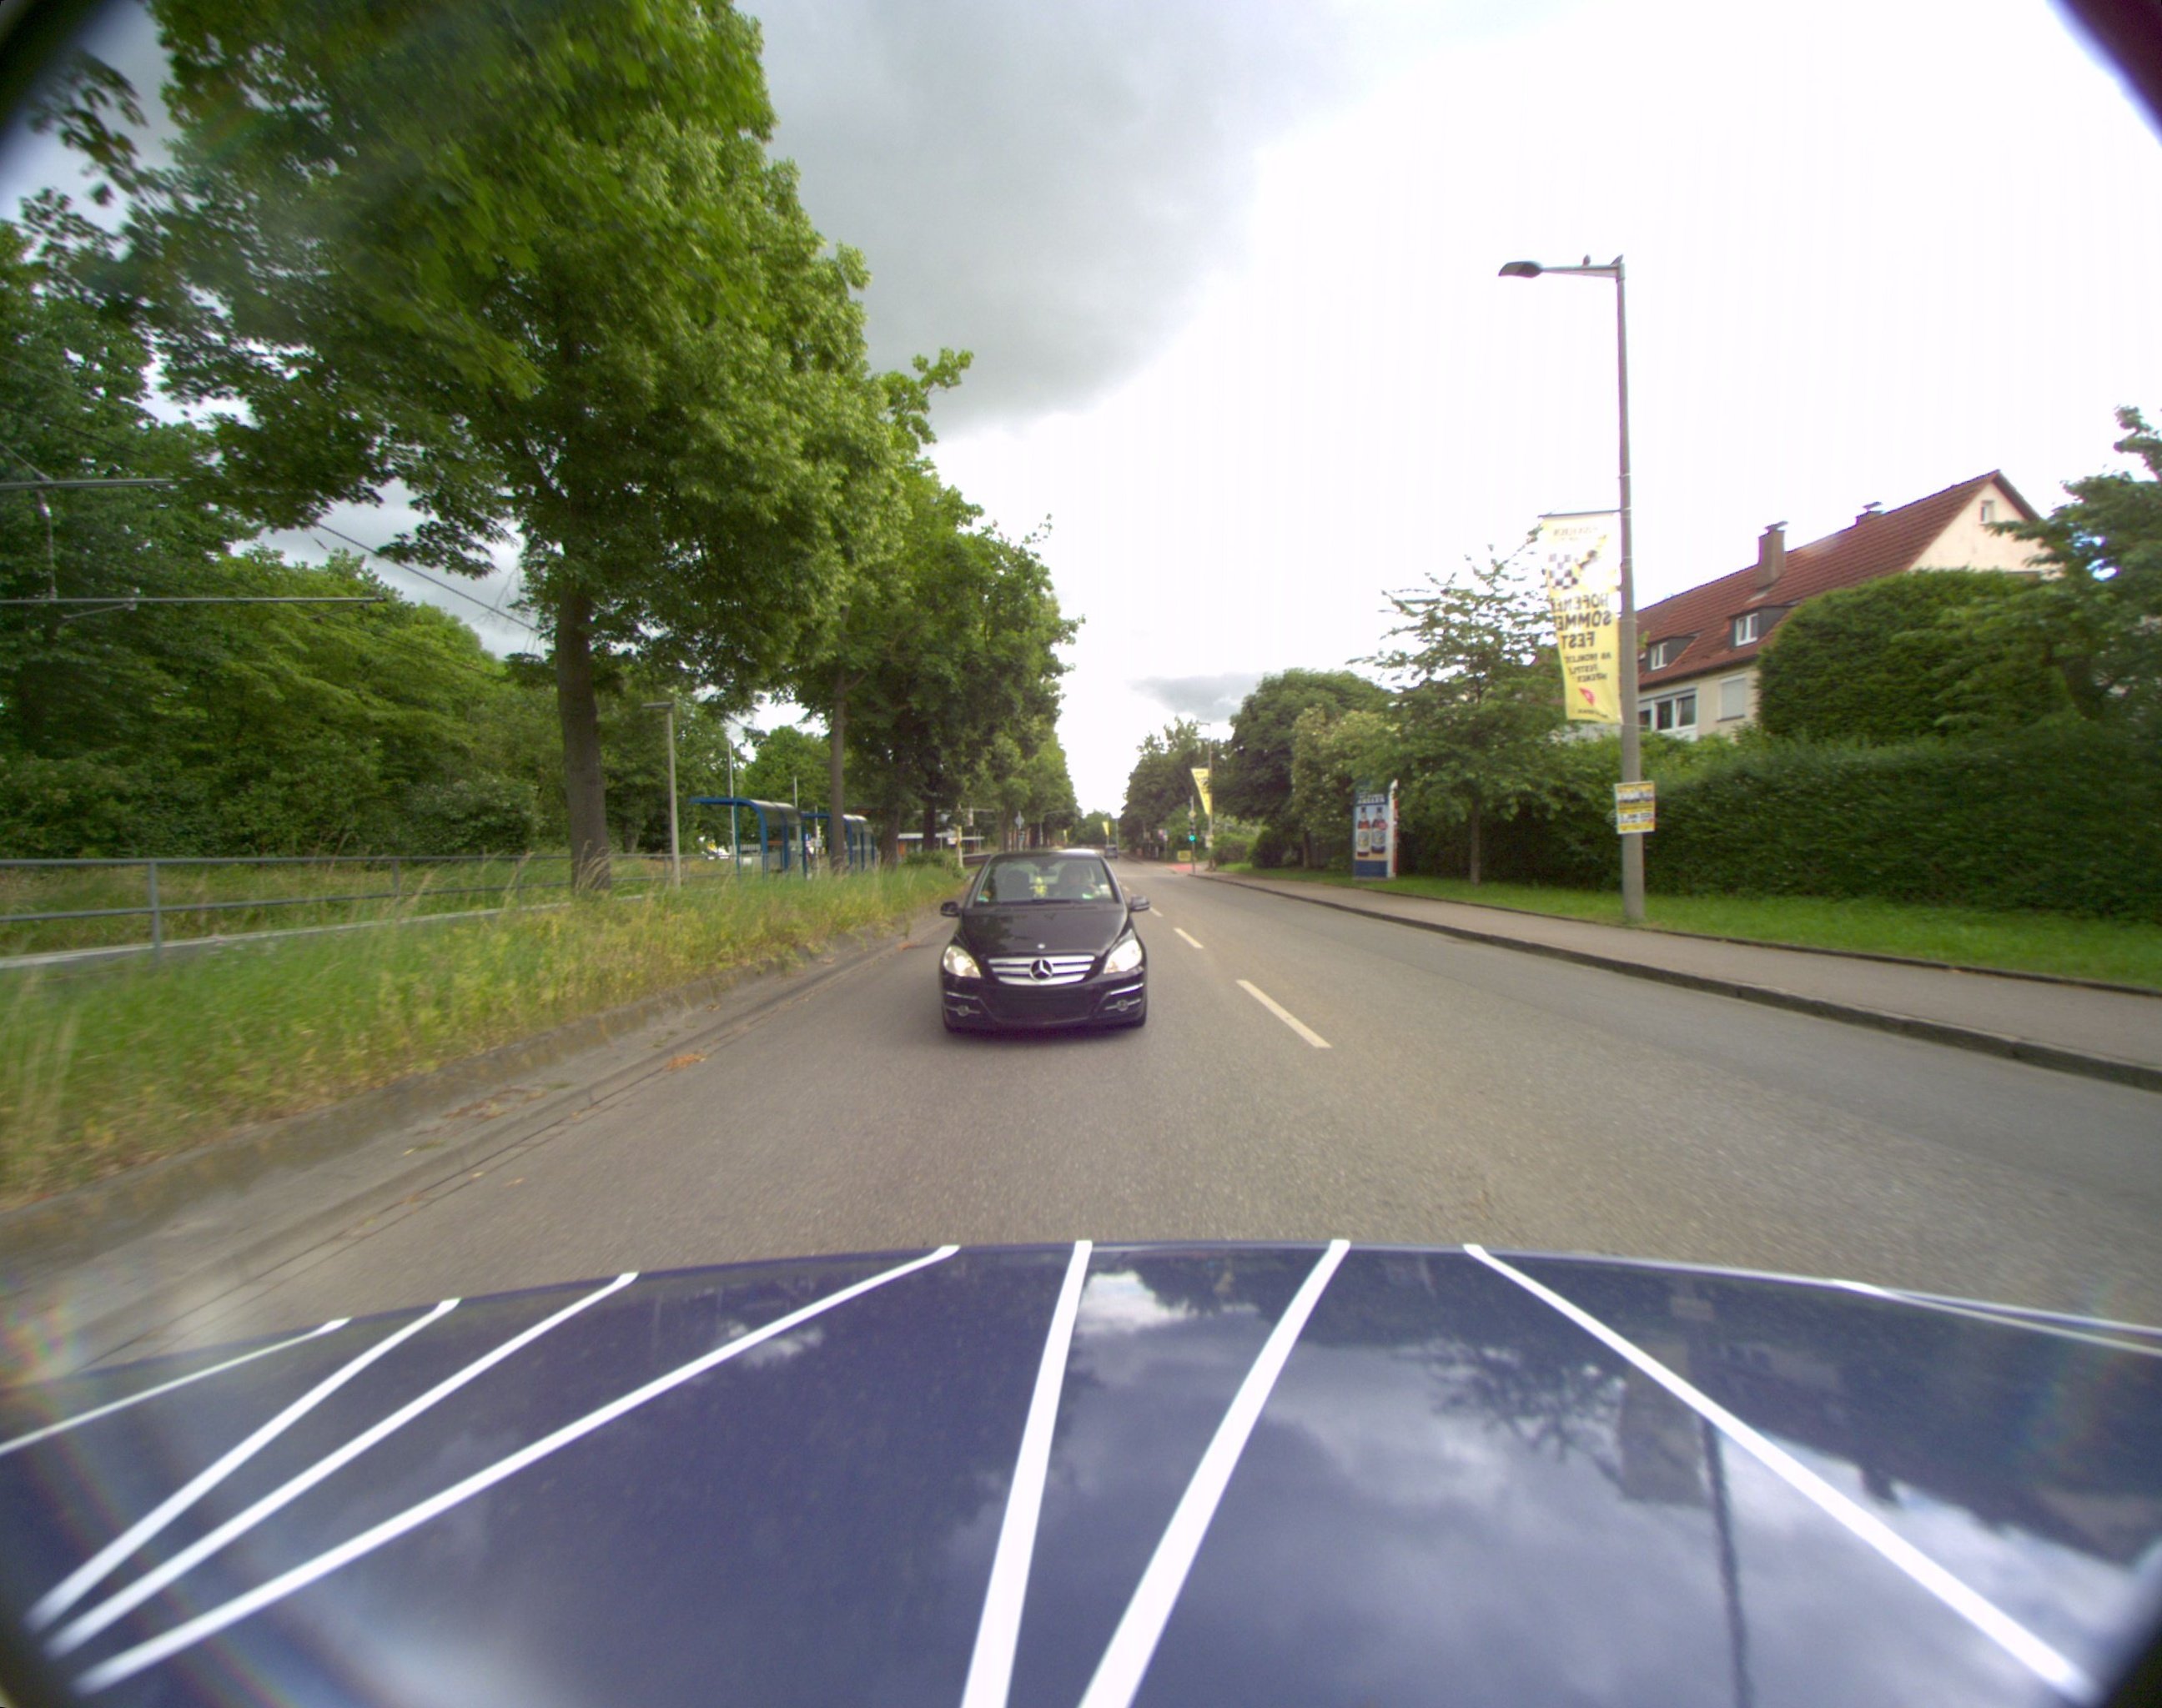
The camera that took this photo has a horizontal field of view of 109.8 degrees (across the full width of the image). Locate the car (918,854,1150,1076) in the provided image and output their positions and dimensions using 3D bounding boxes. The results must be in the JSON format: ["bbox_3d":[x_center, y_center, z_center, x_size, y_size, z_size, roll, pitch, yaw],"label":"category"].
[{"bbox_3d":[-0.375,0.844,7.996,1.683,1.565,4.482,-3,1,-1],"label":"car"}]

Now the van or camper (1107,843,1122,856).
[{"bbox_3d":[5.057,-0.645,115.533,1.918,1.888,4.811,-2,1,0],"label":"van or camper"}]
